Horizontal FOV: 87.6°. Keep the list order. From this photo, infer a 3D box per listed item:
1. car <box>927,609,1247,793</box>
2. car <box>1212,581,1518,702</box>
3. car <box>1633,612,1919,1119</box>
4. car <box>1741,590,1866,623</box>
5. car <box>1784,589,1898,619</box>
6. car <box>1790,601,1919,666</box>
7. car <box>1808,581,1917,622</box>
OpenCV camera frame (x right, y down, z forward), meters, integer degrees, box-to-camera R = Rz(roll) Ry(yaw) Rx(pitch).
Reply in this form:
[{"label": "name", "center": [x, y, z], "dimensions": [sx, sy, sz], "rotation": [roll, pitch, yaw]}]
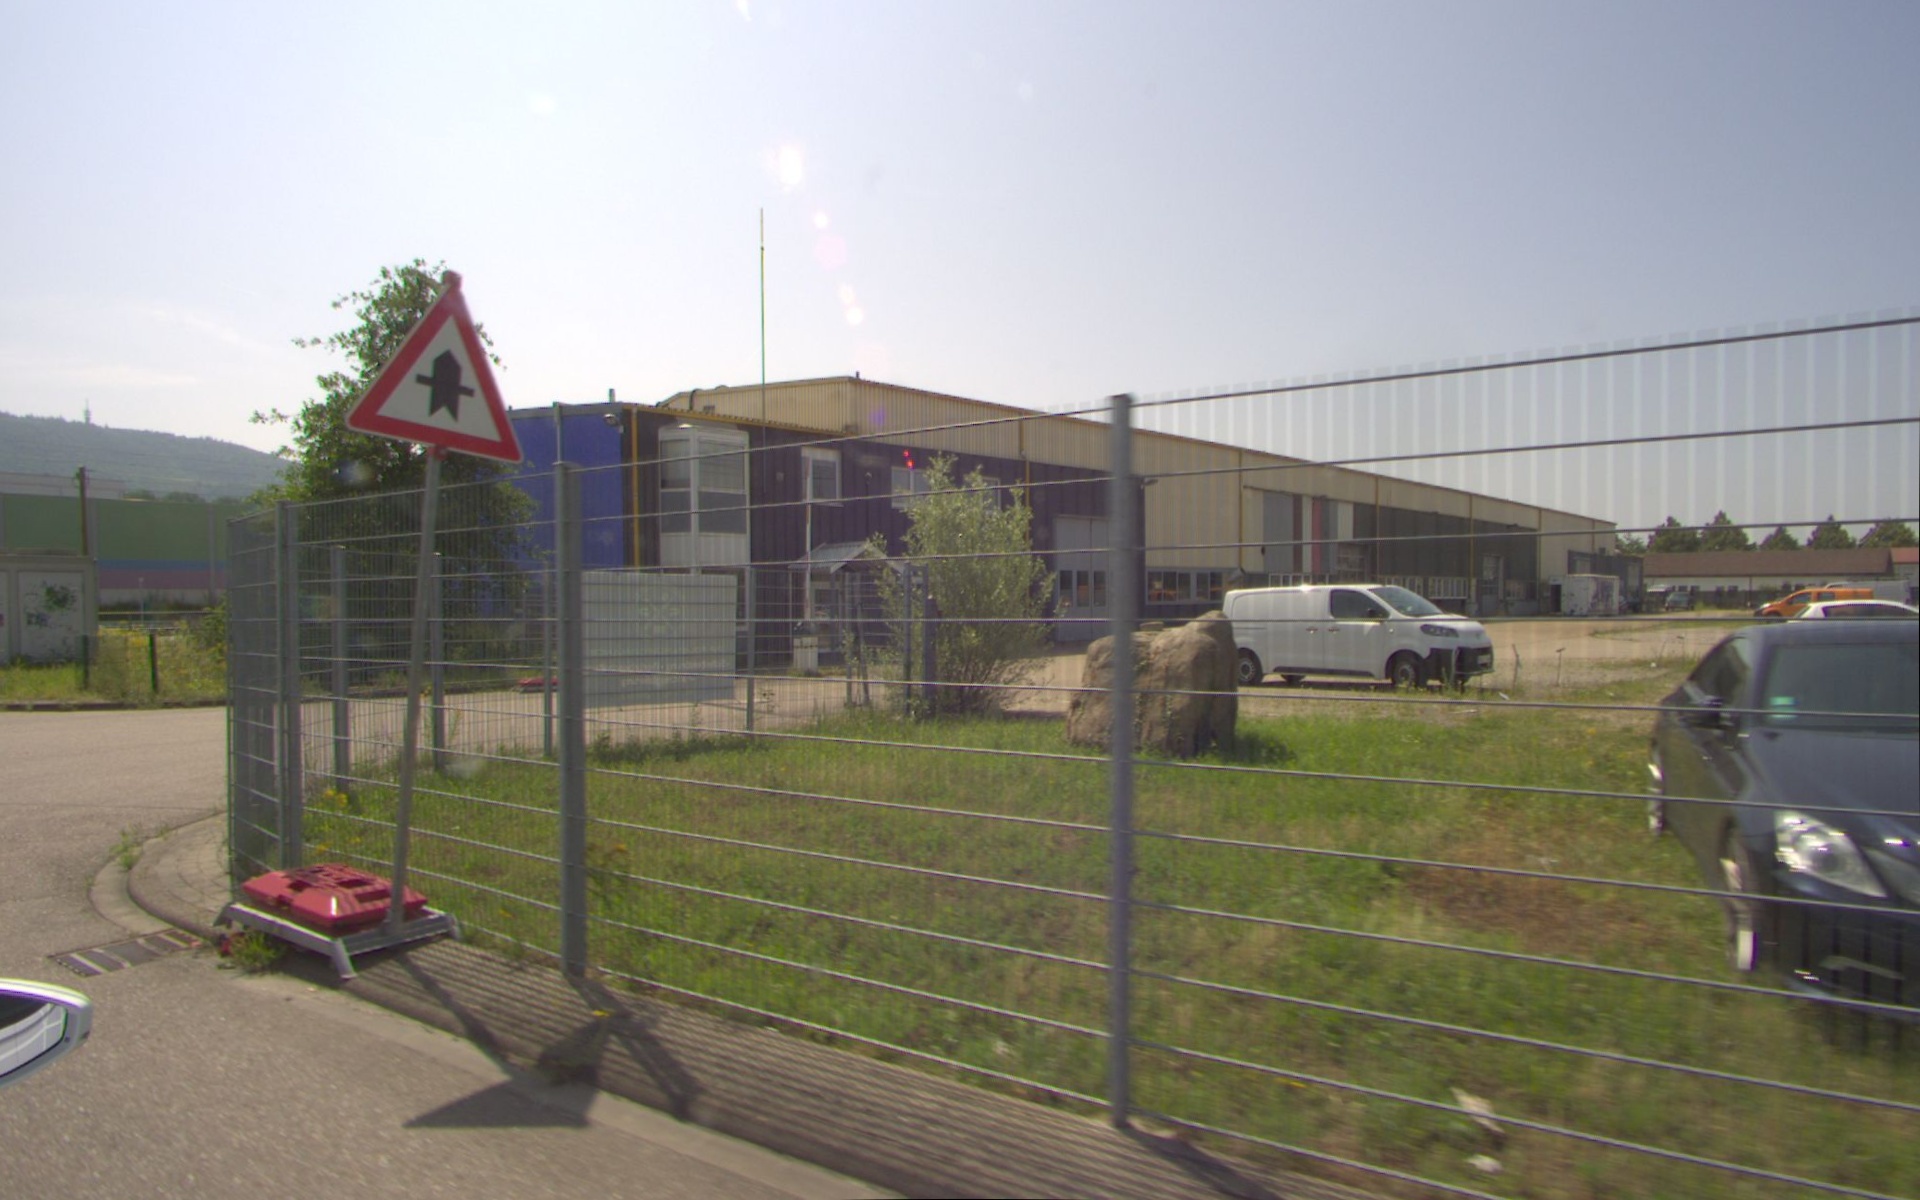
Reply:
[{"label": "car", "center": [1.413, 0.752, 9.394], "dimensions": [1.876, 1.294, 3.916], "rotation": [-1, 0, 25]}, {"label": "car", "center": [7.278, 0.678, 18.522], "dimensions": [1.836, 1.924, 5.036], "rotation": [-1, 0, -38]}, {"label": "car", "center": [4.361, 0.775, 4.442], "dimensions": [1.878, 1.378, 4.415], "rotation": [0, 0, 29]}, {"label": "car", "center": [40.237, 0.294, 47.834], "dimensions": [1.735, 1.505, 4.349], "rotation": [0, 0, -42]}, {"label": "car", "center": [46.546, 0.190, 52.962], "dimensions": [1.953, 1.505, 4.349], "rotation": [0, 0, -42]}, {"label": "car", "center": [21.706, 0.747, 23.229], "dimensions": [1.520, 1.455, 3.633], "rotation": [-1, 0, -42]}, {"label": "car", "center": [50.830, 0.083, 56.441], "dimensions": [1.953, 2.200, 4.349], "rotation": [0, 0, -42]}]
